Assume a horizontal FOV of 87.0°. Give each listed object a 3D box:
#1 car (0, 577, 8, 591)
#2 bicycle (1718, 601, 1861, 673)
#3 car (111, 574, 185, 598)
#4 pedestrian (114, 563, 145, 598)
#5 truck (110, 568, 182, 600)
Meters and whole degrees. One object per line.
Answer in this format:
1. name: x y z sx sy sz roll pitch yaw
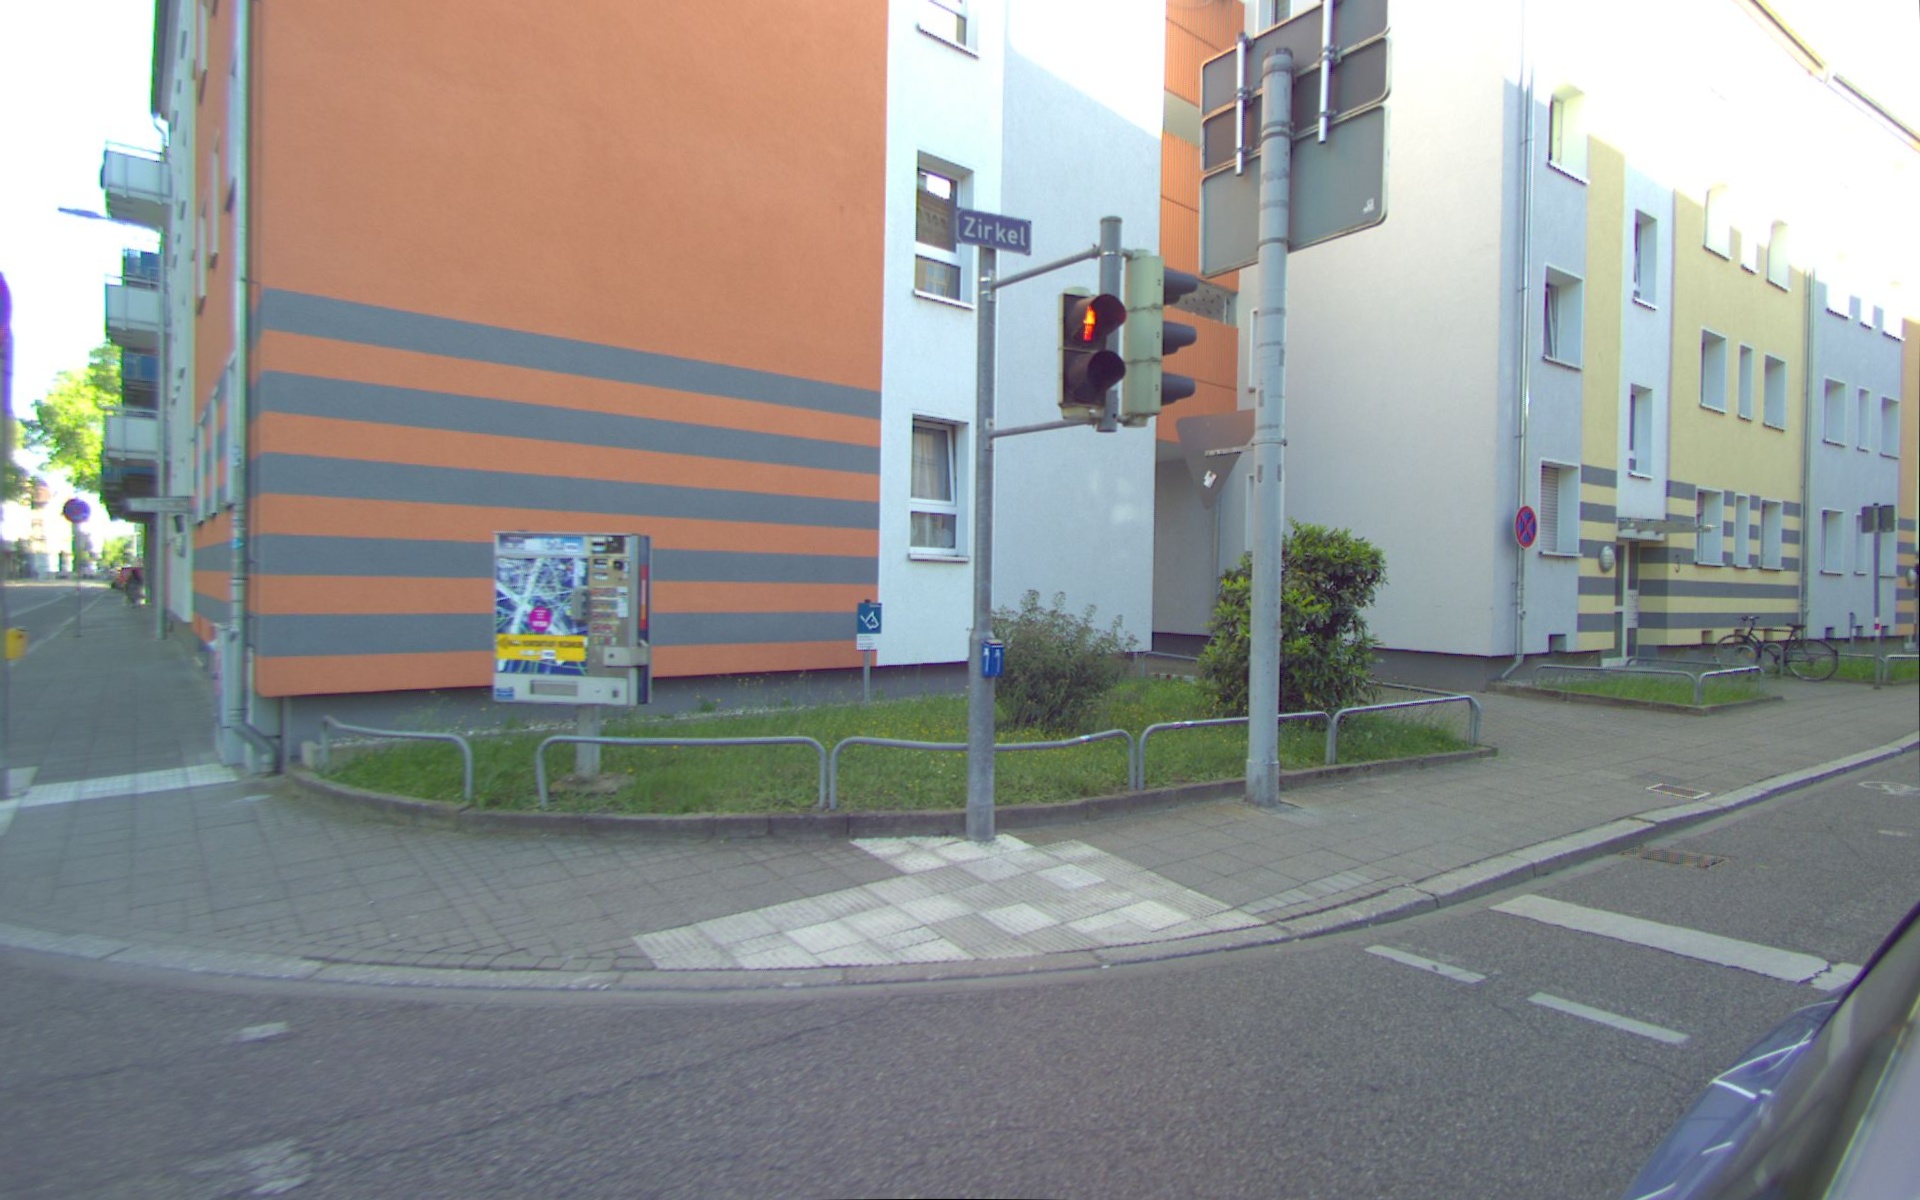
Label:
1. car: -111.681 -1.879 117.094 1.857 1.565 3.996 -1 1 -39
2. bicycle: 14.120 0.600 17.266 0.573 1.061 1.777 -1 3 -38
3. car: -56.249 -0.967 70.139 3.930 1.569 1.799 -1 0 -40
4. pedestrian: -33.502 -0.783 40.837 0.932 1.411 0.953 0 1 -40
5. truck: -64.183 -1.275 79.842 4.367 2.477 1.799 -1 0 -41
